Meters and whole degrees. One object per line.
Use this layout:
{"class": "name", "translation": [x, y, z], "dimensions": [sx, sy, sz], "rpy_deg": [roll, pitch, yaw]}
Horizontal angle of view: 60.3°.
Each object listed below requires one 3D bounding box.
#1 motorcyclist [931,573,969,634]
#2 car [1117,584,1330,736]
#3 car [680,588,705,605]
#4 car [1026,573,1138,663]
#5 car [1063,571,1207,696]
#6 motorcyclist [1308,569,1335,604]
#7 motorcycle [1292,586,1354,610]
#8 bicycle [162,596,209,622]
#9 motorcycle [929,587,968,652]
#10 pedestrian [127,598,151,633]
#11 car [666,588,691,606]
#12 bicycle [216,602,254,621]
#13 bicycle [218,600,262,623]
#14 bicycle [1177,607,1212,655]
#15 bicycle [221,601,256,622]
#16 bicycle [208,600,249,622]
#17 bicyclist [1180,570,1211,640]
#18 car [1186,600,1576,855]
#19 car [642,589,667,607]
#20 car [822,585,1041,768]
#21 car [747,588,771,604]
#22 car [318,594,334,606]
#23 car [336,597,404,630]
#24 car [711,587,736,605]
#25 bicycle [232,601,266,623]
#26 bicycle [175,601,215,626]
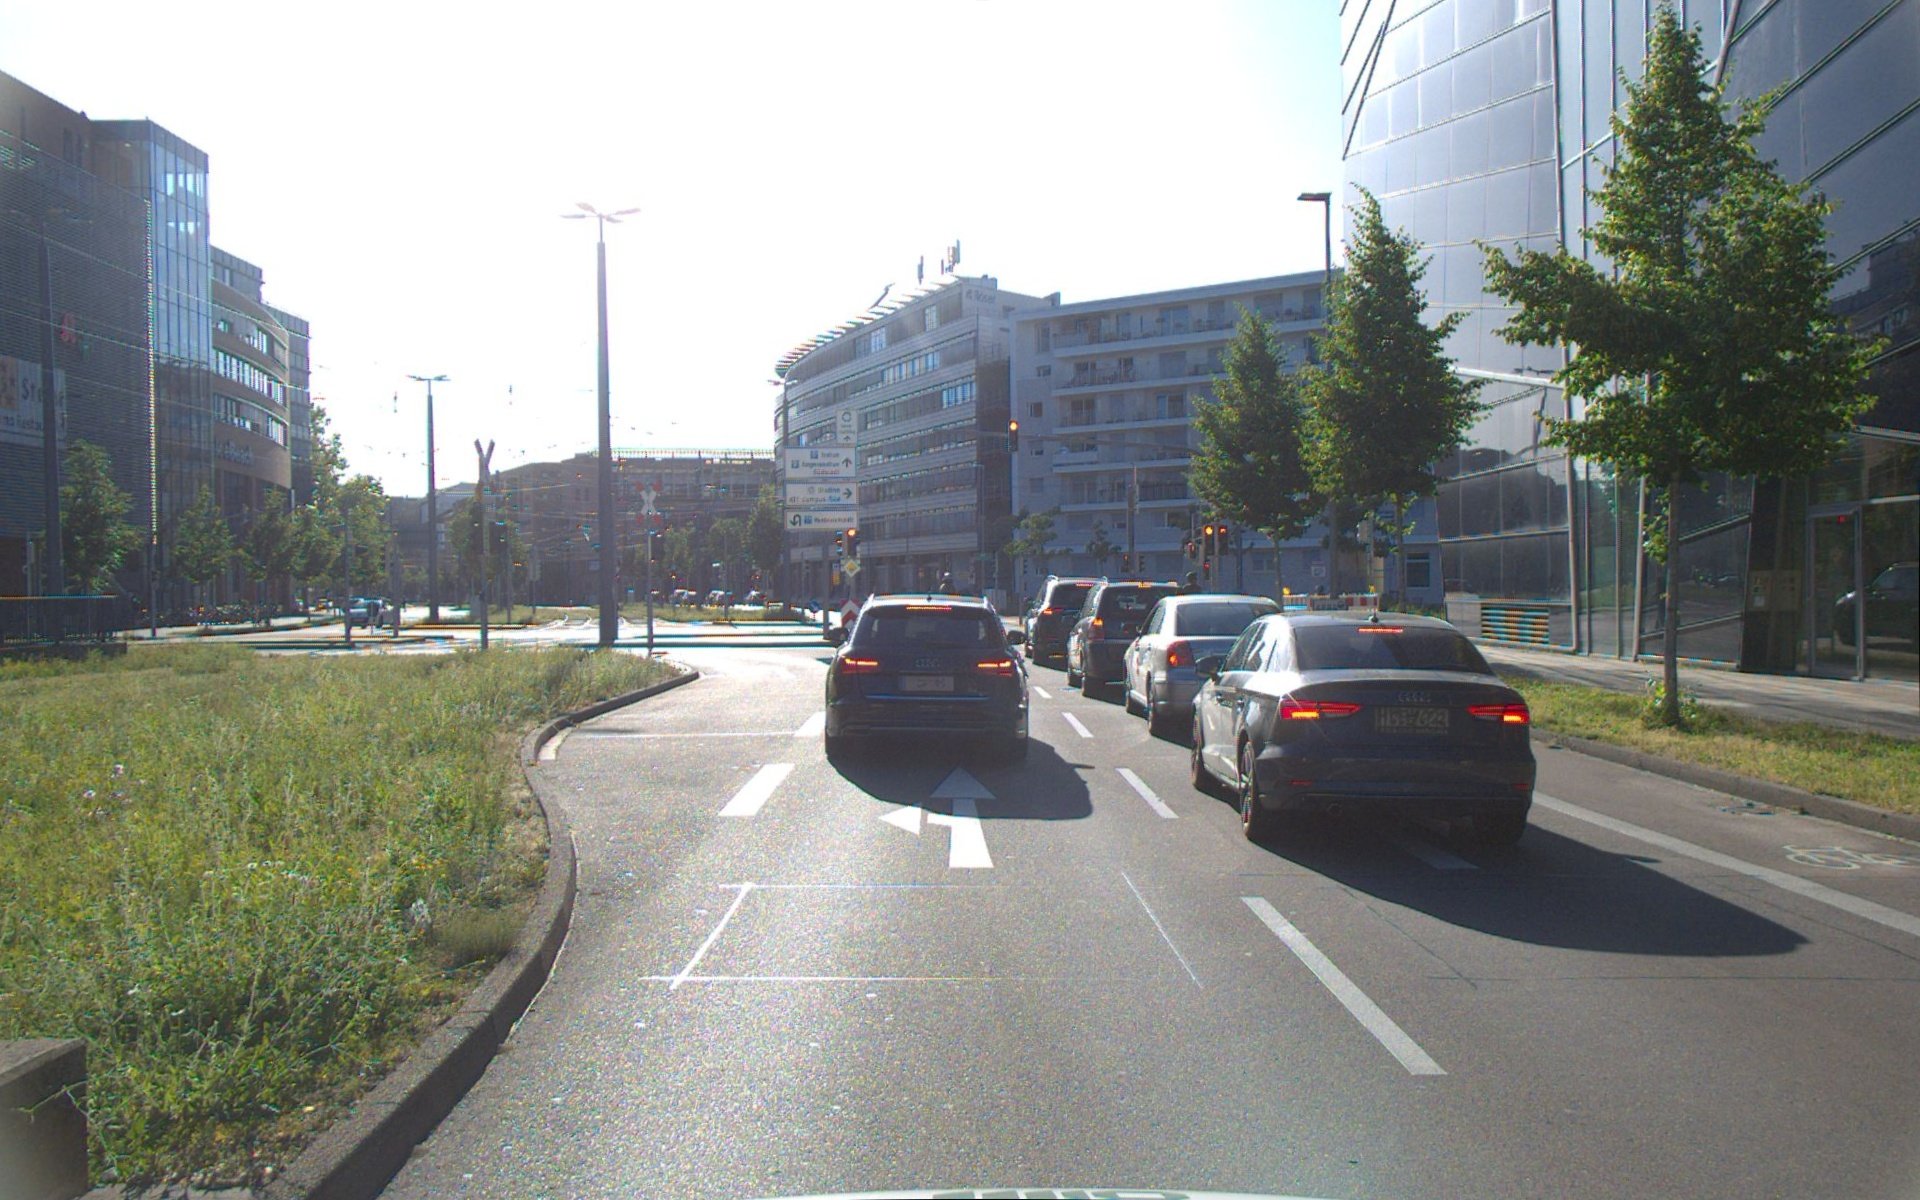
{"class": "motorcyclist", "translation": [-0.228, 0.076, 37.471], "dimensions": [0.845, 1.349, 0.681], "rpy_deg": [-1, 0, -1]}
{"class": "car", "translation": [2.869, 0.588, 18.926], "dimensions": [1.710, 1.507, 4.628], "rpy_deg": [-1, 0, 0]}
{"class": "car", "translation": [-26.484, -0.355, 163.801], "dimensions": [1.961, 1.624, 3.983], "rpy_deg": [-2, 0, -16]}
{"class": "car", "translation": [2.511, 0.328, 34.933], "dimensions": [1.962, 1.745, 4.372], "rpy_deg": [1, 1, -1]}
{"class": "car", "translation": [2.577, 0.459, 25.202], "dimensions": [1.710, 1.725, 4.260], "rpy_deg": [0, 0, -1]}
{"class": "motorcyclist", "translation": [15.768, -0.601, 72.120], "dimensions": [0.906, 1.507, 1.171], "rpy_deg": [-1, 0, -1]}
{"class": "motorcycle", "translation": [15.821, -0.091, 72.125], "dimensions": [2.403, 1.018, 1.171], "rpy_deg": [-1, 0, -1]}
{"class": "bicycle", "translation": [-46.489, 0.548, 99.239], "dimensions": [2.319, 1.458, 1.077], "rpy_deg": [-2, 0, 8]}
{"class": "motorcycle", "translation": [-0.266, 0.431, 37.393], "dimensions": [0.845, 1.417, 1.893], "rpy_deg": [-1, 0, -1]}
{"class": "pedestrian", "translation": [-44.423, 0.819, 89.519], "dimensions": [0.809, 1.856, 0.905], "rpy_deg": [-2, -1, 0]}
{"class": "car", "translation": [-28.951, -0.280, 170.103], "dimensions": [1.963, 1.736, 3.978], "rpy_deg": [-2, 0, -19]}
{"class": "bicycle", "translation": [-50.513, 0.830, 115.267], "dimensions": [2.362, 1.257, 0.745], "rpy_deg": [-2, 0, 8]}
{"class": "bicycle", "translation": [-46.756, 0.755, 107.450], "dimensions": [2.507, 1.458, 0.905], "rpy_deg": [-2, 0, 8]}
{"class": "bicycle", "translation": [5.609, 0.729, 39.669], "dimensions": [0.640, 1.061, 1.930], "rpy_deg": [-1, 1, 2]}
{"class": "bicycle", "translation": [-50.667, 0.802, 116.115], "dimensions": [2.197, 1.458, 0.719], "rpy_deg": [-2, 0, 8]}
{"class": "bicycle", "translation": [-50.337, 0.763, 113.841], "dimensions": [2.551, 1.458, 0.772], "rpy_deg": [-2, 0, 8]}
{"class": "bicyclist", "translation": [5.639, 0.110, 39.664], "dimensions": [0.640, 1.671, 0.972], "rpy_deg": [-1, 1, 2]}
{"class": "car", "translation": [2.683, 0.723, 11.530], "dimensions": [1.710, 1.416, 4.265], "rpy_deg": [0, 0, 1]}
{"class": "car", "translation": [-31.193, -0.226, 168.797], "dimensions": [1.963, 1.736, 3.978], "rpy_deg": [-2, 0, -19]}
{"class": "car", "translation": [-0.267, 0.616, 15.771], "dimensions": [1.805, 1.479, 3.999], "rpy_deg": [1, 1, -1]}
{"class": "car", "translation": [-21.206, -0.429, 174.000], "dimensions": [1.961, 1.624, 3.984], "rpy_deg": [-2, 0, -15]}
{"class": "car", "translation": [-86.654, 0.035, 226.133], "dimensions": [1.630, 1.616, 3.328], "rpy_deg": [-1, 0, -28]}
{"class": "car", "translation": [-30.068, 0.657, 84.405], "dimensions": [1.953, 1.572, 4.529], "rpy_deg": [-1, 1, -2]}
{"class": "car", "translation": [-23.101, -0.414, 161.438], "dimensions": [1.961, 1.624, 3.983], "rpy_deg": [-2, 0, -15]}
{"class": "bicycle", "translation": [-50.801, 0.858, 118.151], "dimensions": [2.092, 1.458, 0.759], "rpy_deg": [-2, 0, 8]}
{"class": "bicycle", "translation": [-46.343, 0.809, 100.242], "dimensions": [2.039, 1.458, 0.861], "rpy_deg": [-2, 0, 8]}
